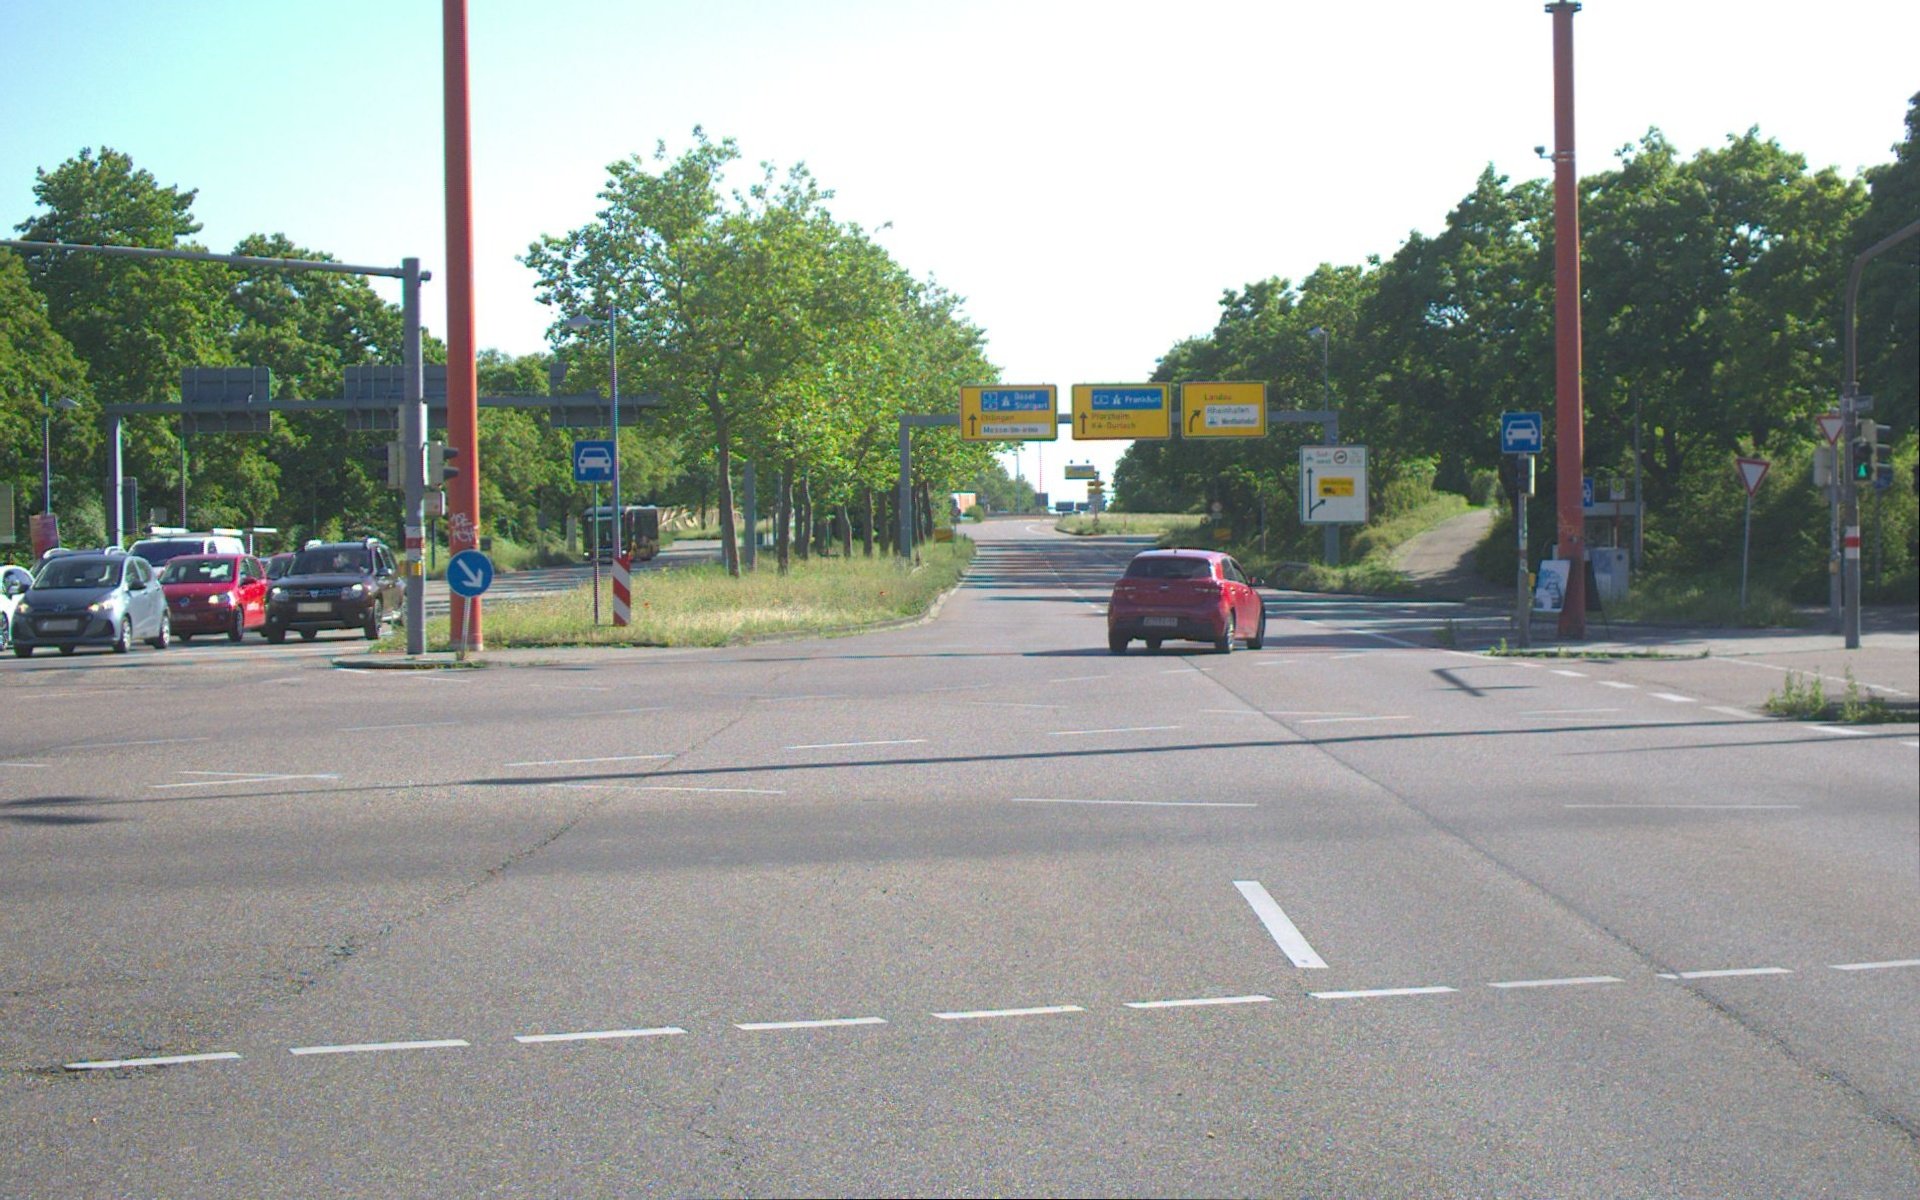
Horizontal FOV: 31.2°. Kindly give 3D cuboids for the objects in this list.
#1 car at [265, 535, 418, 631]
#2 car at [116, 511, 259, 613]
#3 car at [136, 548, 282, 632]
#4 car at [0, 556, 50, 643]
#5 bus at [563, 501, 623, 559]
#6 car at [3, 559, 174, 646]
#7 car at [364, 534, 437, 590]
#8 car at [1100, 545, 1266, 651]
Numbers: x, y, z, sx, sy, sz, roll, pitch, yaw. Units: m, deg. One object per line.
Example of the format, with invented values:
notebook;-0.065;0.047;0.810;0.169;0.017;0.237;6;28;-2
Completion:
car;-10.082;-0.297;56.271;1.819;1.503;4.000;-1;1;-1
car;-15.911;-0.777;71.014;1.893;2.019;5.223;0;1;-1
car;-12.690;-0.190;58.272;1.739;1.357;3.613;-1;1;-1
car;-16.421;-0.018;57.049;1.739;1.406;3.613;-1;1;-1
bus;-21.229;-4.030;199.480;2.492;3.227;10.001;-1;1;-1
car;-13.113;0.015;51.903;1.739;1.239;3.613;-1;1;-1
car;-20.285;-1.387;124.797;1.993;2.007;4.000;-1;1;-1
car;3.236;-0.060;49.213;1.681;1.430;4.063;0;1;14
